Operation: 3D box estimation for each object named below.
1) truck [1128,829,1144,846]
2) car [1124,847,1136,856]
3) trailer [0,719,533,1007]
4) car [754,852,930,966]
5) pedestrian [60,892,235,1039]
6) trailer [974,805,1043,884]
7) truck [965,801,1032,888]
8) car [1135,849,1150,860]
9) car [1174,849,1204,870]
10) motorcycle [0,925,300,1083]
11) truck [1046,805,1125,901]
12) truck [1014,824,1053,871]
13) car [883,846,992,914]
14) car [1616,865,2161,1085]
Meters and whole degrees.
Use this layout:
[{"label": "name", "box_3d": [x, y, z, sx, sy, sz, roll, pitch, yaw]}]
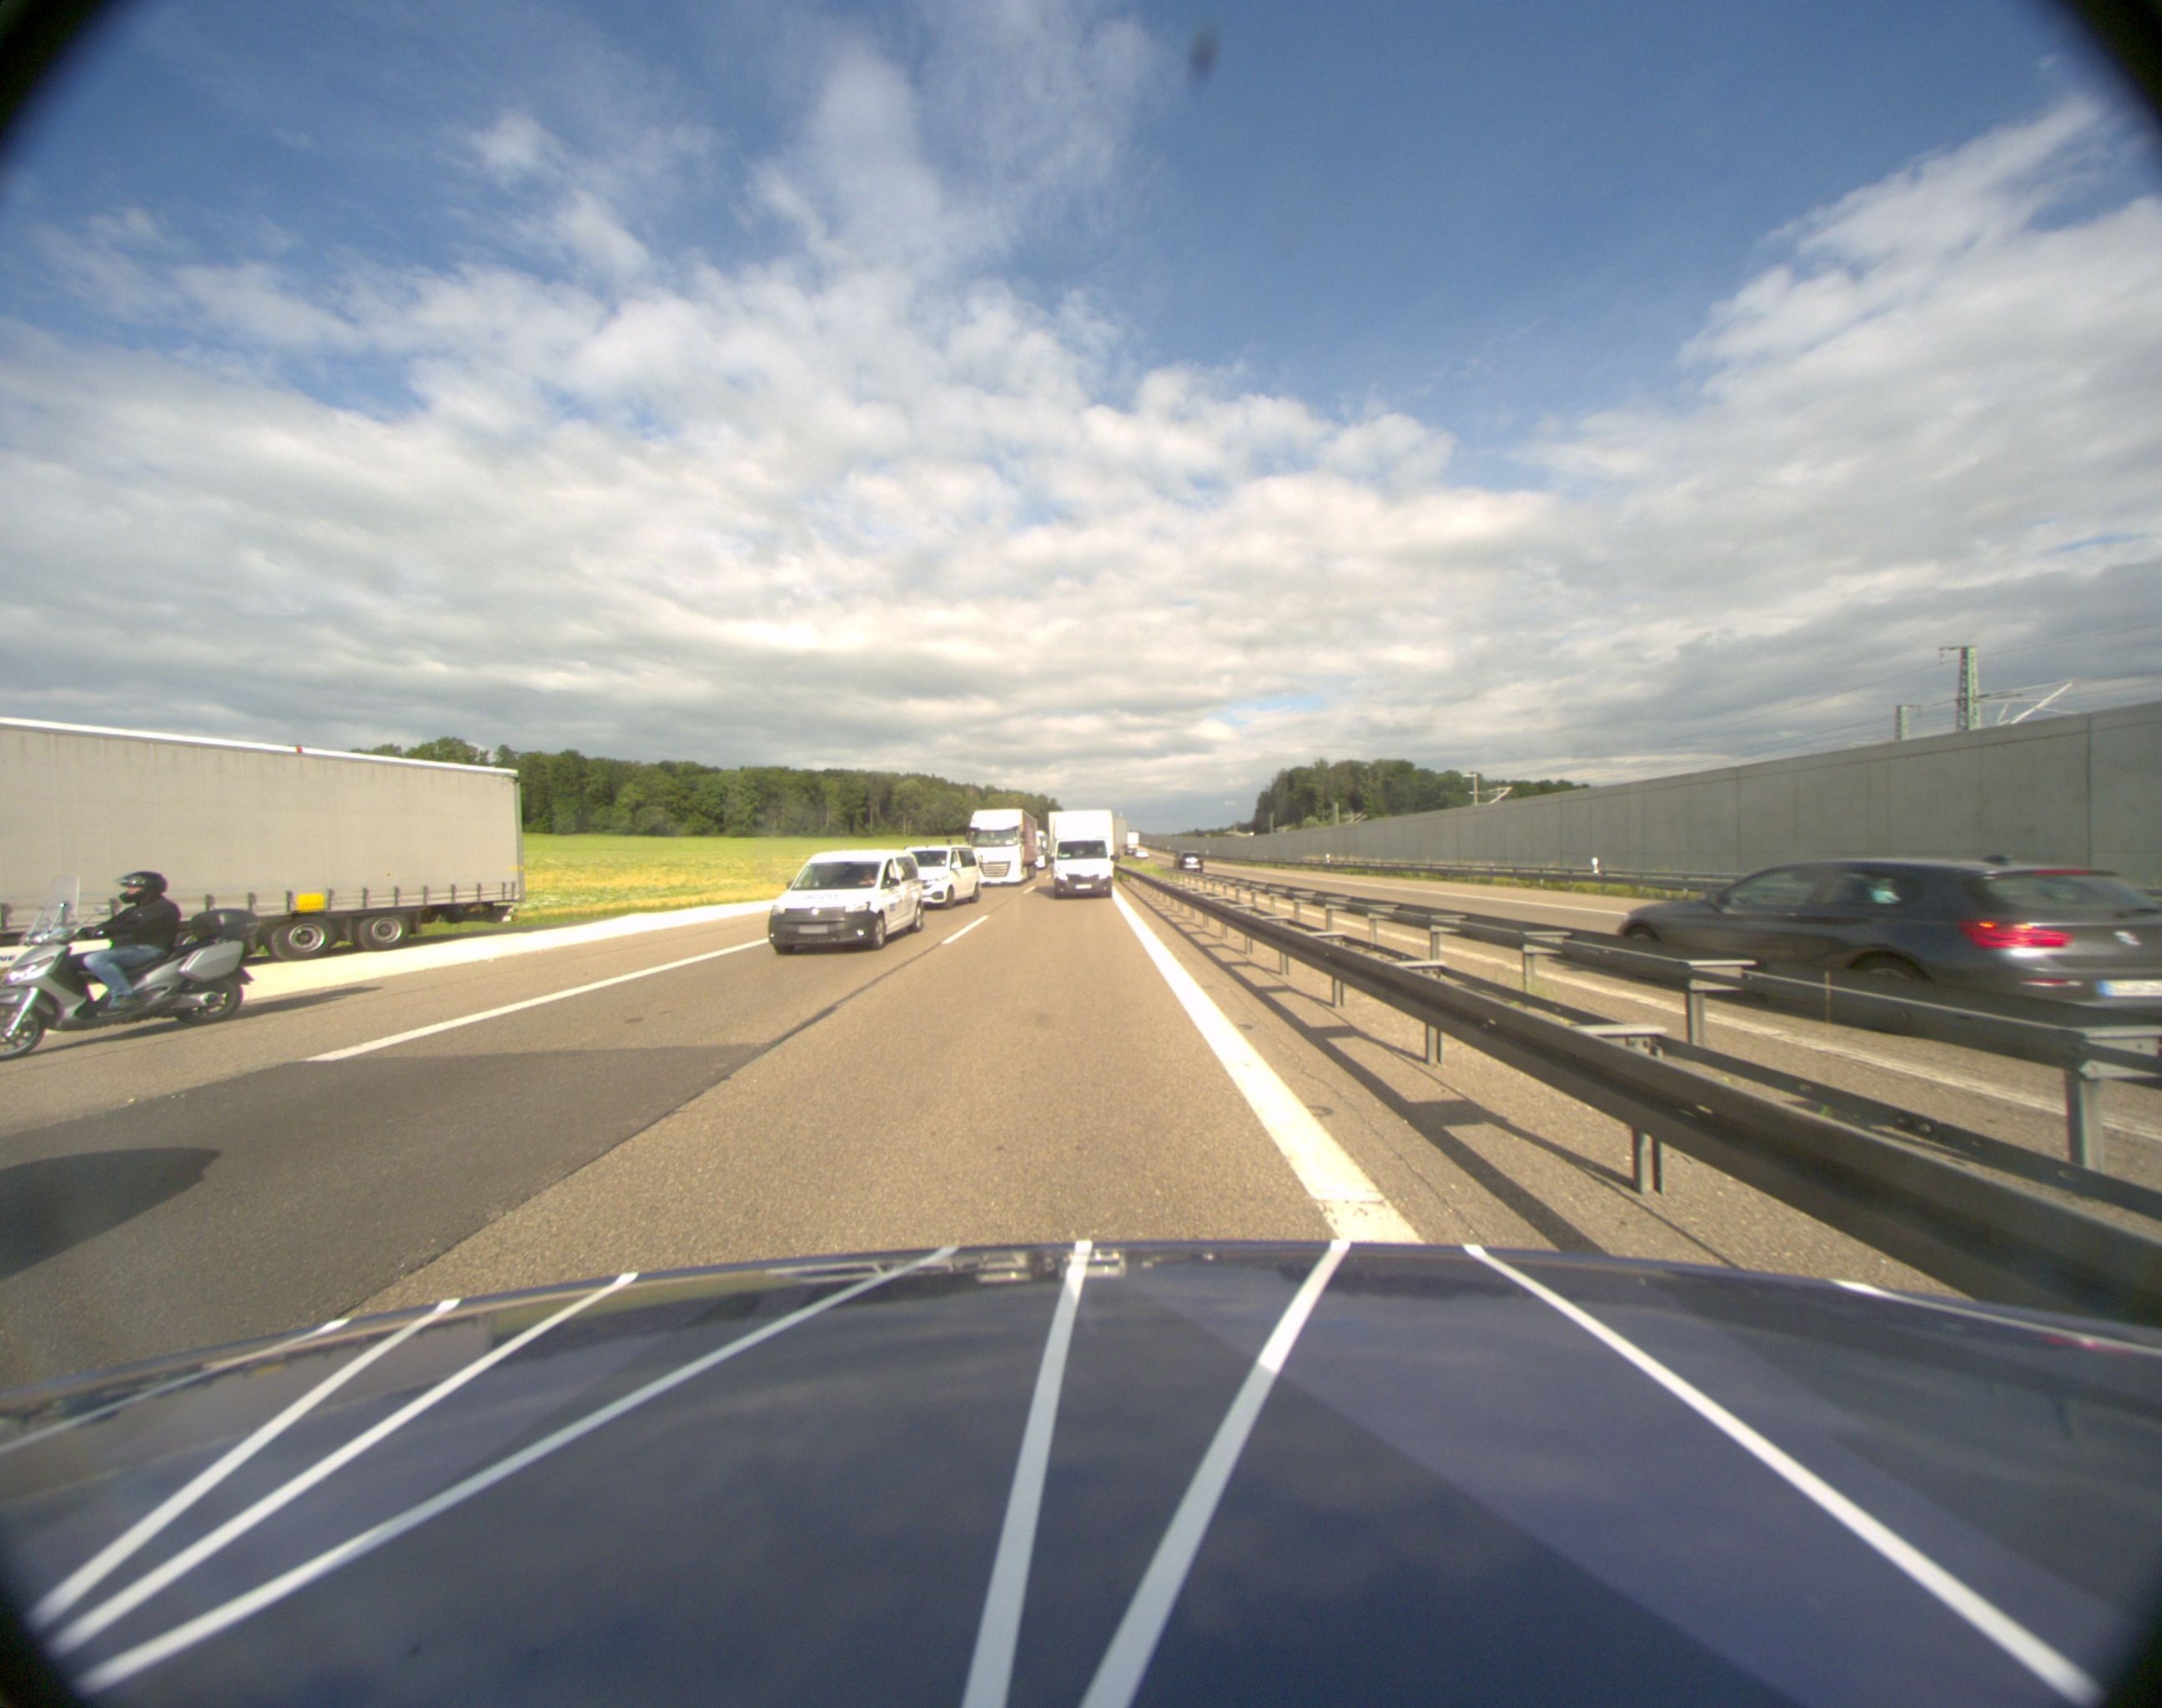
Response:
[{"label": "truck", "box_3d": [13.948, -4.039, 193.495, 2.952, 4.037, 11.745, -2, 1, 0]}, {"label": "car", "box_3d": [8.660, -0.421, 133.809, 1.808, 1.454, 4.449, -1, 0, 1]}, {"label": "trailer", "box_3d": [-16.596, 0.165, 12.221, 2.739, 4.136, 13.843, -2, 0, 15]}, {"label": "car", "box_3d": [-4.273, 0.873, 14.462, 1.729, 1.746, 4.702, -3, 0, 1]}, {"label": "pedestrian", "box_3d": [-9.444, 1.095, 7.720, 0.757, 1.366, 0.819, -1, 1, 9]}, {"label": "trailer", "box_3d": [-4.212, -0.623, 47.465, 2.742, 4.136, 14.016, -2, 1, 0]}, {"label": "truck", "box_3d": [-4.233, -0.513, 40.142, 2.736, 4.150, 5.766, -2, 1, 0]}, {"label": "car", "box_3d": [8.716, 0.051, 107.827, 1.721, 1.454, 4.449, -1, 0, -1]}, {"label": "car", "box_3d": [8.413, 0.407, 59.312, 1.720, 1.586, 4.449, -1, 0, 0]}, {"label": "motorcycle", "box_3d": [-9.455, 1.390, 7.592, 0.757, 1.143, 2.246, -1, 0, 9]}, {"label": "truck", "box_3d": [0.172, -0.042, 31.182, 2.500, 3.082, 12.037, -2, 0, 0]}, {"label": "truck", "box_3d": [-4.544, -0.604, 74.545, 2.946, 4.094, 12.523, -1, 0, 0]}, {"label": "car", "box_3d": [-4.491, 0.742, 24.725, 1.799, 1.914, 5.270, -3, 0, 8]}, {"label": "car", "box_3d": [7.180, 0.845, 7.086, 1.637, 1.393, 3.896, -1, 0, 0]}]
